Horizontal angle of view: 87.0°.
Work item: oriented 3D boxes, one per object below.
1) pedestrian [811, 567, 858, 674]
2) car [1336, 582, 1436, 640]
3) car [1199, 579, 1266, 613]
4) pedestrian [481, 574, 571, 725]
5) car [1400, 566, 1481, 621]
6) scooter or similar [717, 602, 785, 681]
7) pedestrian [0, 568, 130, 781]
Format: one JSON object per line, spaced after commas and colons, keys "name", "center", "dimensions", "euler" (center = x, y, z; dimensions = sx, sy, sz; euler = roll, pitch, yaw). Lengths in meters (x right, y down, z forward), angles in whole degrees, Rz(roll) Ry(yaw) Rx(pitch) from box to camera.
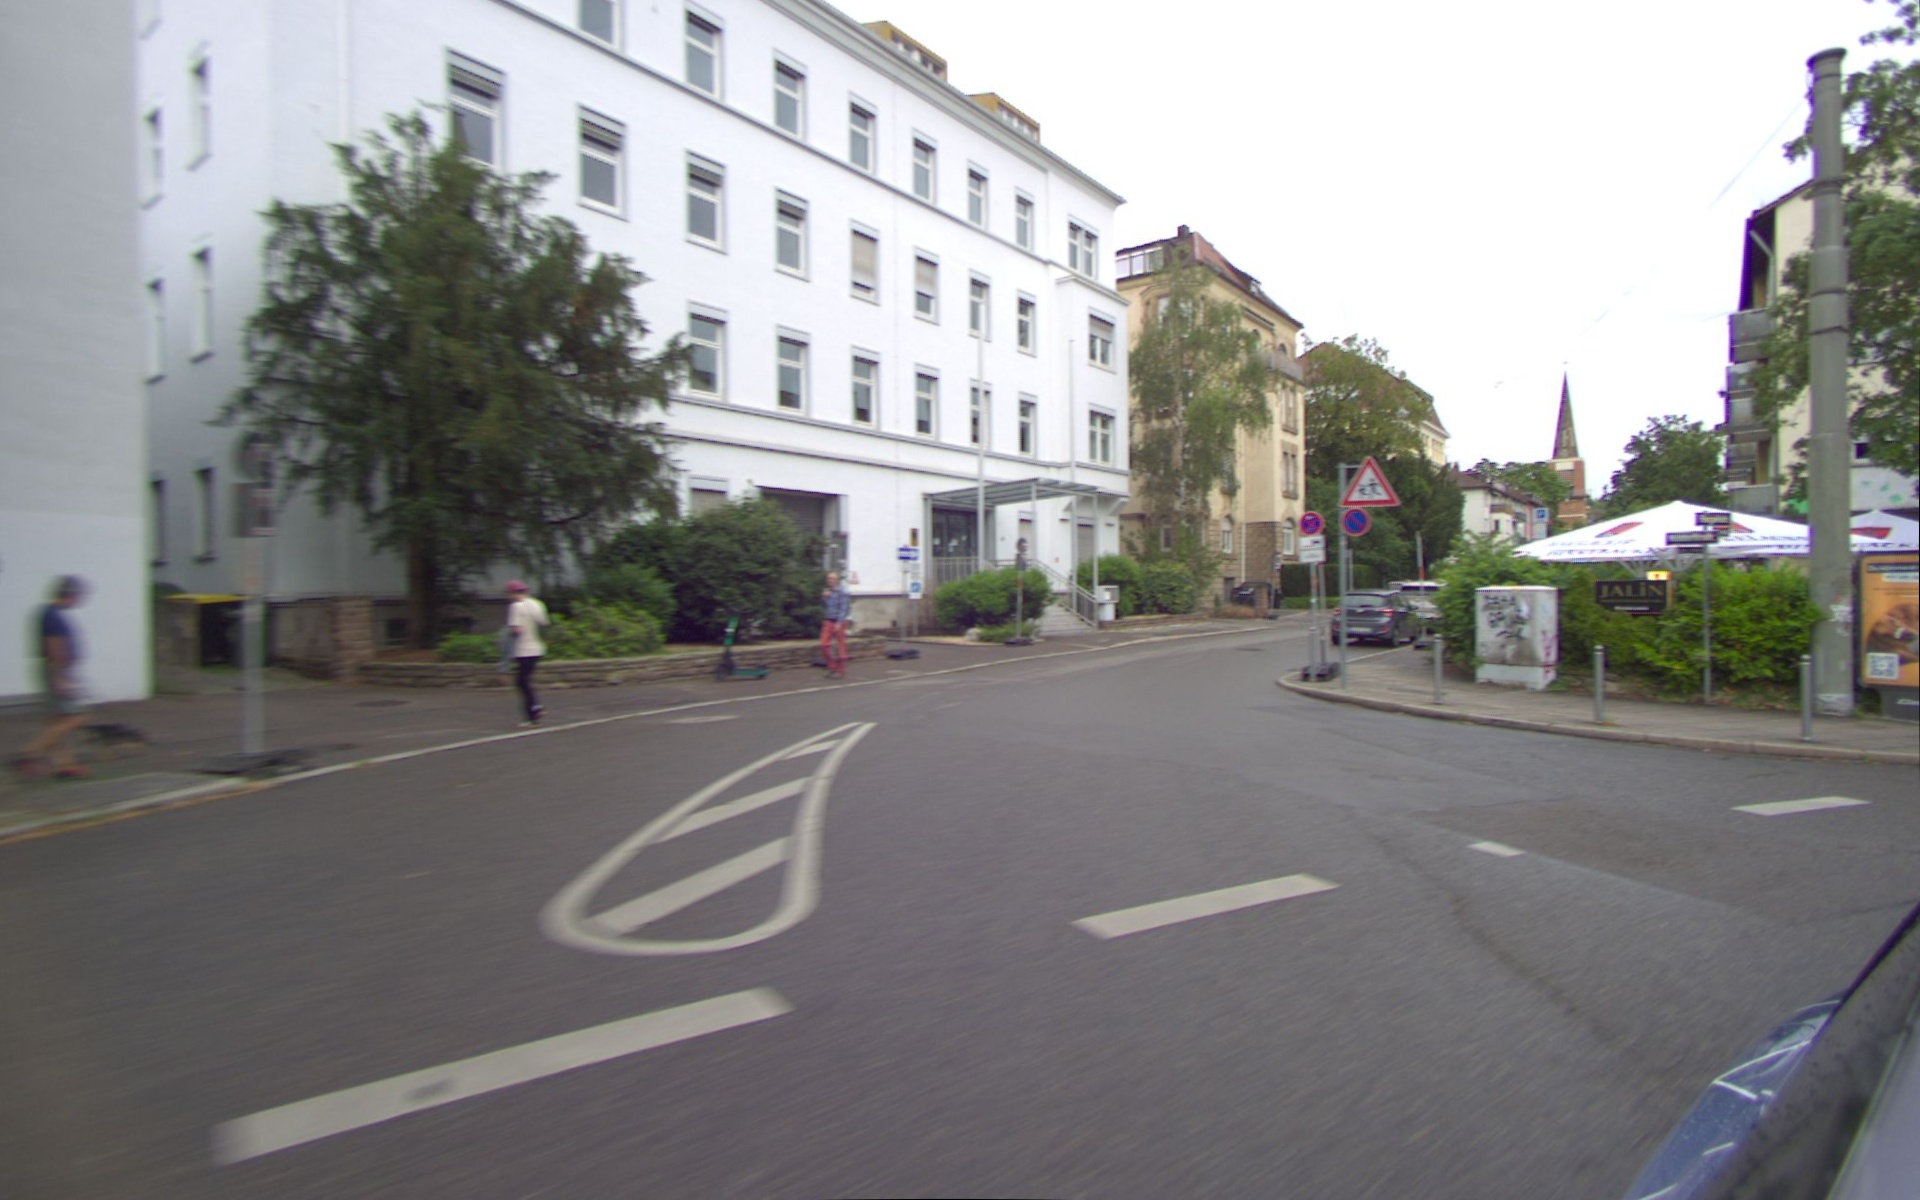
{"name": "pedestrian", "center": [-2.355, 0.365, 19.068], "dimensions": [0.536, 1.947, 0.911], "euler": [0, 1, 19]}
{"name": "car", "center": [11.694, 0.275, 27.656], "dimensions": [1.684, 1.460, 3.753], "euler": [1, 1, 37]}
{"name": "car", "center": [12.374, -0.158, 45.888], "dimensions": [1.592, 1.359, 3.581], "euler": [-1, -3, 40]}
{"name": "pedestrian", "center": [-5.130, 0.571, 11.967], "dimensions": [0.738, 1.722, 0.667], "euler": [-2, -2, 27]}
{"name": "car", "center": [15.724, -0.217, 33.059], "dimensions": [1.684, 1.711, 3.753], "euler": [1, 0, 37]}
{"name": "scooter or similar", "center": [-3.710, 0.718, 17.979], "dimensions": [0.462, 1.306, 1.086], "euler": [-1, 1, 42]}
{"name": "pedestrian", "center": [-7.283, 0.590, 8.242], "dimensions": [0.541, 1.651, 0.594], "euler": [-1, -3, 32]}
